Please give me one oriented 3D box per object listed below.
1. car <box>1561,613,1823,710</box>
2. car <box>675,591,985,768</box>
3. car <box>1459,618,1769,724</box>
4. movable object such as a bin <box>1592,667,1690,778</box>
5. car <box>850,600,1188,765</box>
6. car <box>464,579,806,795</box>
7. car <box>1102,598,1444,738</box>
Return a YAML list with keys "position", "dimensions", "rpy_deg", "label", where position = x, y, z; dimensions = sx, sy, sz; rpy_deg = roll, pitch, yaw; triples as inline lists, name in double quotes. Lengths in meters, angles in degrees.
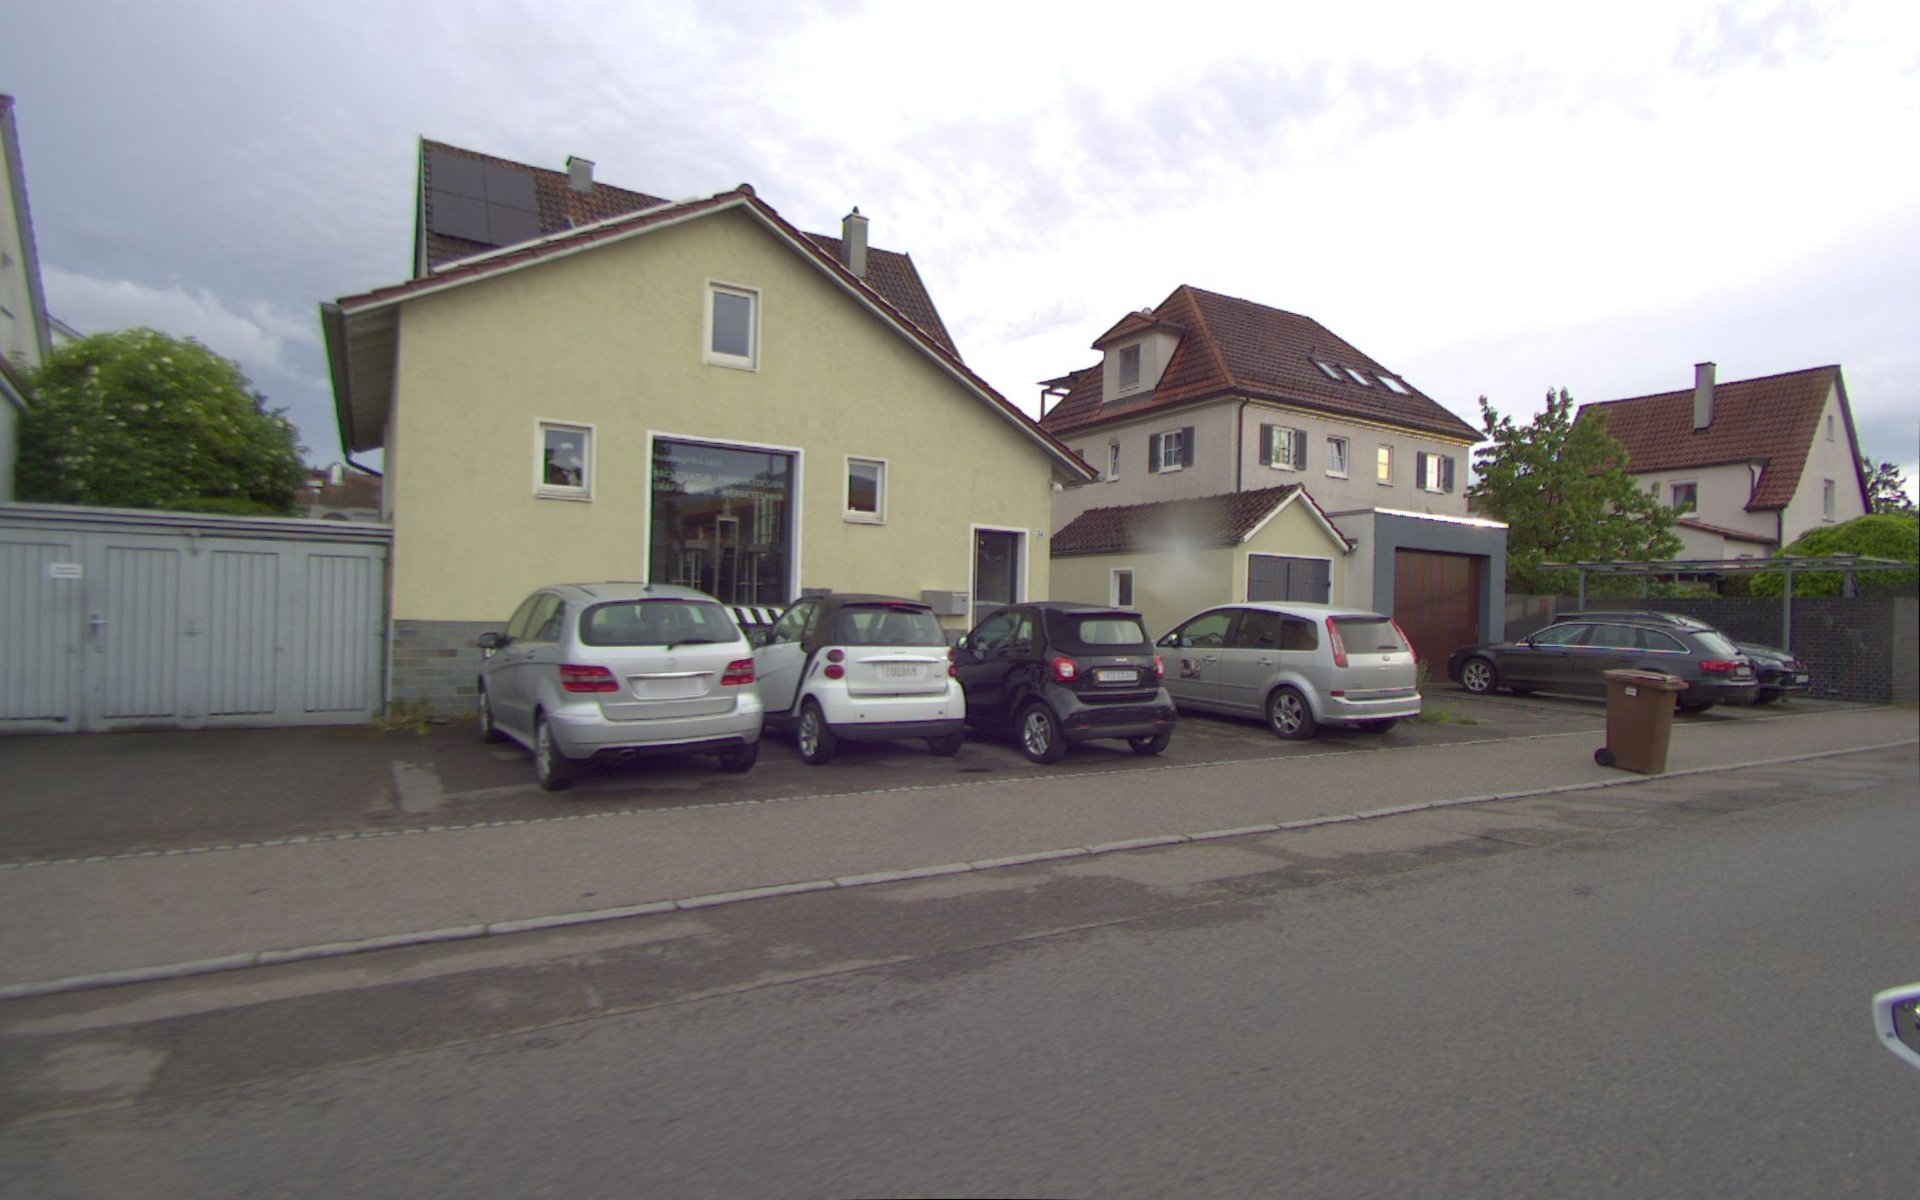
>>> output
- position: [13.521, 1.058, 18.734]
  dimensions: [1.739, 1.476, 3.562]
  rpy_deg: [1, 1, -34]
  label: "car"
- position: [-1.611, 0.710, 11.016]
  dimensions: [1.794, 1.553, 4.060]
  rpy_deg: [1, 0, -33]
  label: "car"
- position: [10.891, 1.091, 17.022]
  dimensions: [1.695, 1.433, 4.061]
  rpy_deg: [1, 1, -32]
  label: "car"
- position: [7.505, 1.327, 11.074]
  dimensions: [0.678, 1.072, 0.593]
  rpy_deg: [-1, 5, -30]
  label: "movable object such as a bin"
- position: [0.482, 0.779, 11.506]
  dimensions: [1.739, 1.523, 4.057]
  rpy_deg: [1, 0, -35]
  label: "car"
- position: [-3.255, 0.631, 9.477]
  dimensions: [1.980, 1.553, 4.057]
  rpy_deg: [1, 0, -35]
  label: "car"
- position: [3.922, 0.754, 13.234]
  dimensions: [1.863, 1.534, 4.060]
  rpy_deg: [1, 0, -33]
  label: "car"
